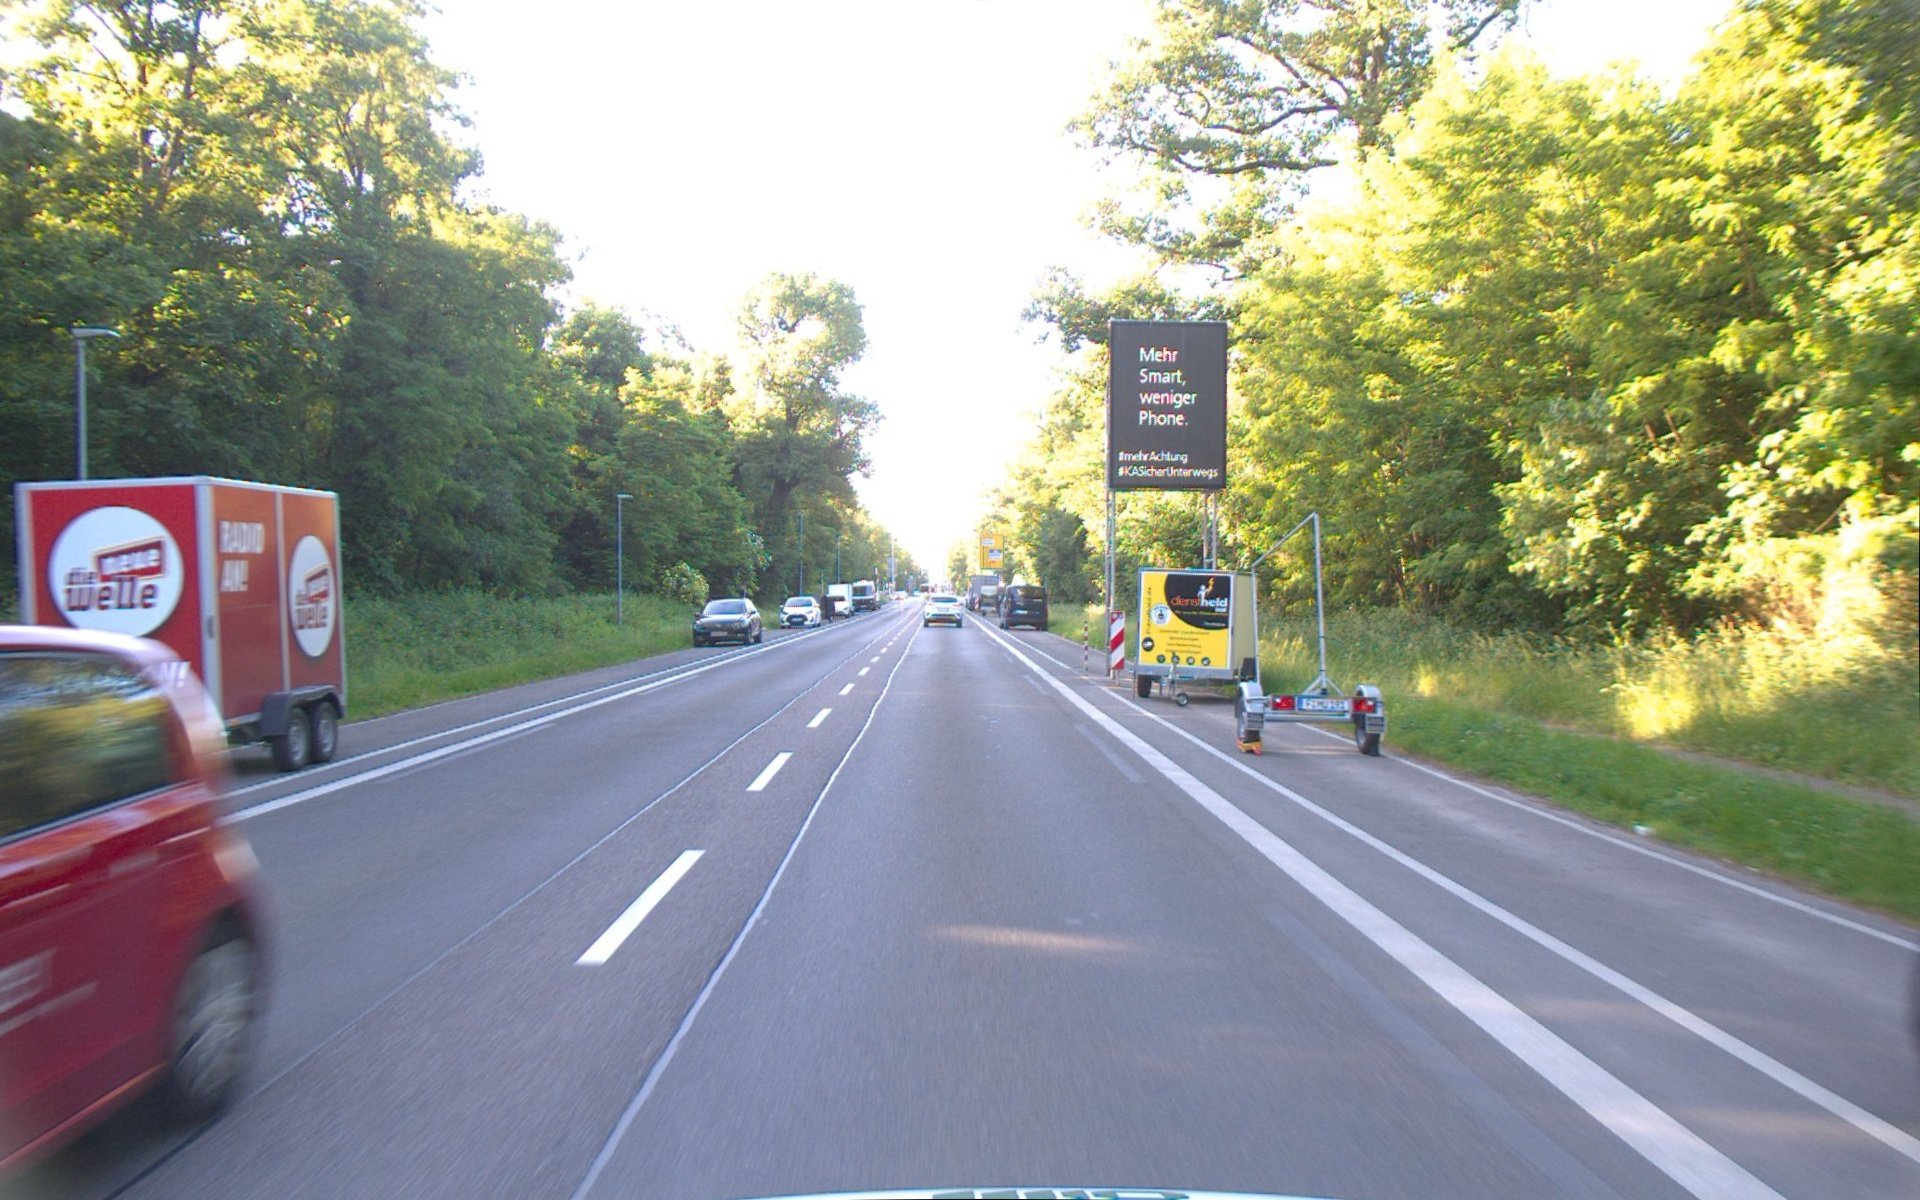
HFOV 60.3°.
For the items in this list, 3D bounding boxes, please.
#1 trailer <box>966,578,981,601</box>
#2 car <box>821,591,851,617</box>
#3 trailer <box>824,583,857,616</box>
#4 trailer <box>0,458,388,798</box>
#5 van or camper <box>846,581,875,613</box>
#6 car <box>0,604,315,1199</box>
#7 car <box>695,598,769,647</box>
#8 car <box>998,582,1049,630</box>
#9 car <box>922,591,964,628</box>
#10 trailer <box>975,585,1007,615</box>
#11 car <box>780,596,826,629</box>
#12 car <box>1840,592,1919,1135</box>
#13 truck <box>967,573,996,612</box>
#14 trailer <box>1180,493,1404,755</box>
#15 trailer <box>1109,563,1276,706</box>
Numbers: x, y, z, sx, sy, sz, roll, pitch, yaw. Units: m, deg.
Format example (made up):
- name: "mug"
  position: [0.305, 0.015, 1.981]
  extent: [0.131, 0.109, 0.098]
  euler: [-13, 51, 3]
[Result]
- name: "trailer"
  position: [1.454, -1.101, 173.620]
  extent: [1.469, 2.274, 4.549]
  euler: [1, 0, 0]
- name: "car"
  position: [-8.136, 0.223, 108.655]
  extent: [1.778, 1.599, 4.205]
  euler: [-2, 0, -3]
- name: "trailer"
  position: [-8.774, -0.060, 121.874]
  extent: [2.032, 2.333, 3.487]
  euler: [-1, 0, 1]
- name: "trailer"
  position: [-6.874, 0.210, 15.025]
  extent: [1.953, 2.667, 4.085]
  euler: [0, 0, -1]
- name: "van or camper"
  position: [-9.152, -0.261, 153.012]
  extent: [2.255, 2.816, 5.556]
  euler: [-3, 0, -1]
- name: "car"
  position: [-2.832, 0.765, 3.497]
  extent: [1.571, 1.445, 3.518]
  euler: [-2, 0, -1]
- name: "car"
  position: [-7.389, 0.694, 53.936]
  extent: [1.817, 1.490, 4.783]
  euler: [0, 0, -1]
- name: "car"
  position: [2.878, 0.248, 75.964]
  extent: [2.070, 2.049, 5.039]
  euler: [2, 0, 0]
- name: "car"
  position: [-0.809, 0.432, 78.000]
  extent: [1.953, 1.668, 3.999]
  euler: [0, 0, -1]
- name: "trailer"
  position: [2.259, 0.006, 119.945]
  extent: [1.581, 2.149, 2.397]
  euler: [1, 0, 20]
- name: "car"
  position: [-7.639, 0.580, 80.807]
  extent: [1.829, 1.476, 4.070]
  euler: [-3, 0, -1]
- name: "car"
  position: [3.565, 0.784, 3.678]
  extent: [1.554, 1.557, 3.010]
  euler: [2, 0, -1]
- name: "truck"
  position: [1.925, -0.668, 150.029]
  extent: [2.454, 3.425, 7.106]
  euler: [1, 0, 0]
- name: "trailer"
  position: [3.527, 0.241, 18.251]
  extent: [1.581, 2.552, 3.999]
  euler: [1, 0, -1]
- name: "trailer"
  position: [3.722, 0.476, 25.937]
  extent: [1.921, 2.058, 3.845]
  euler: [0, 0, 19]
